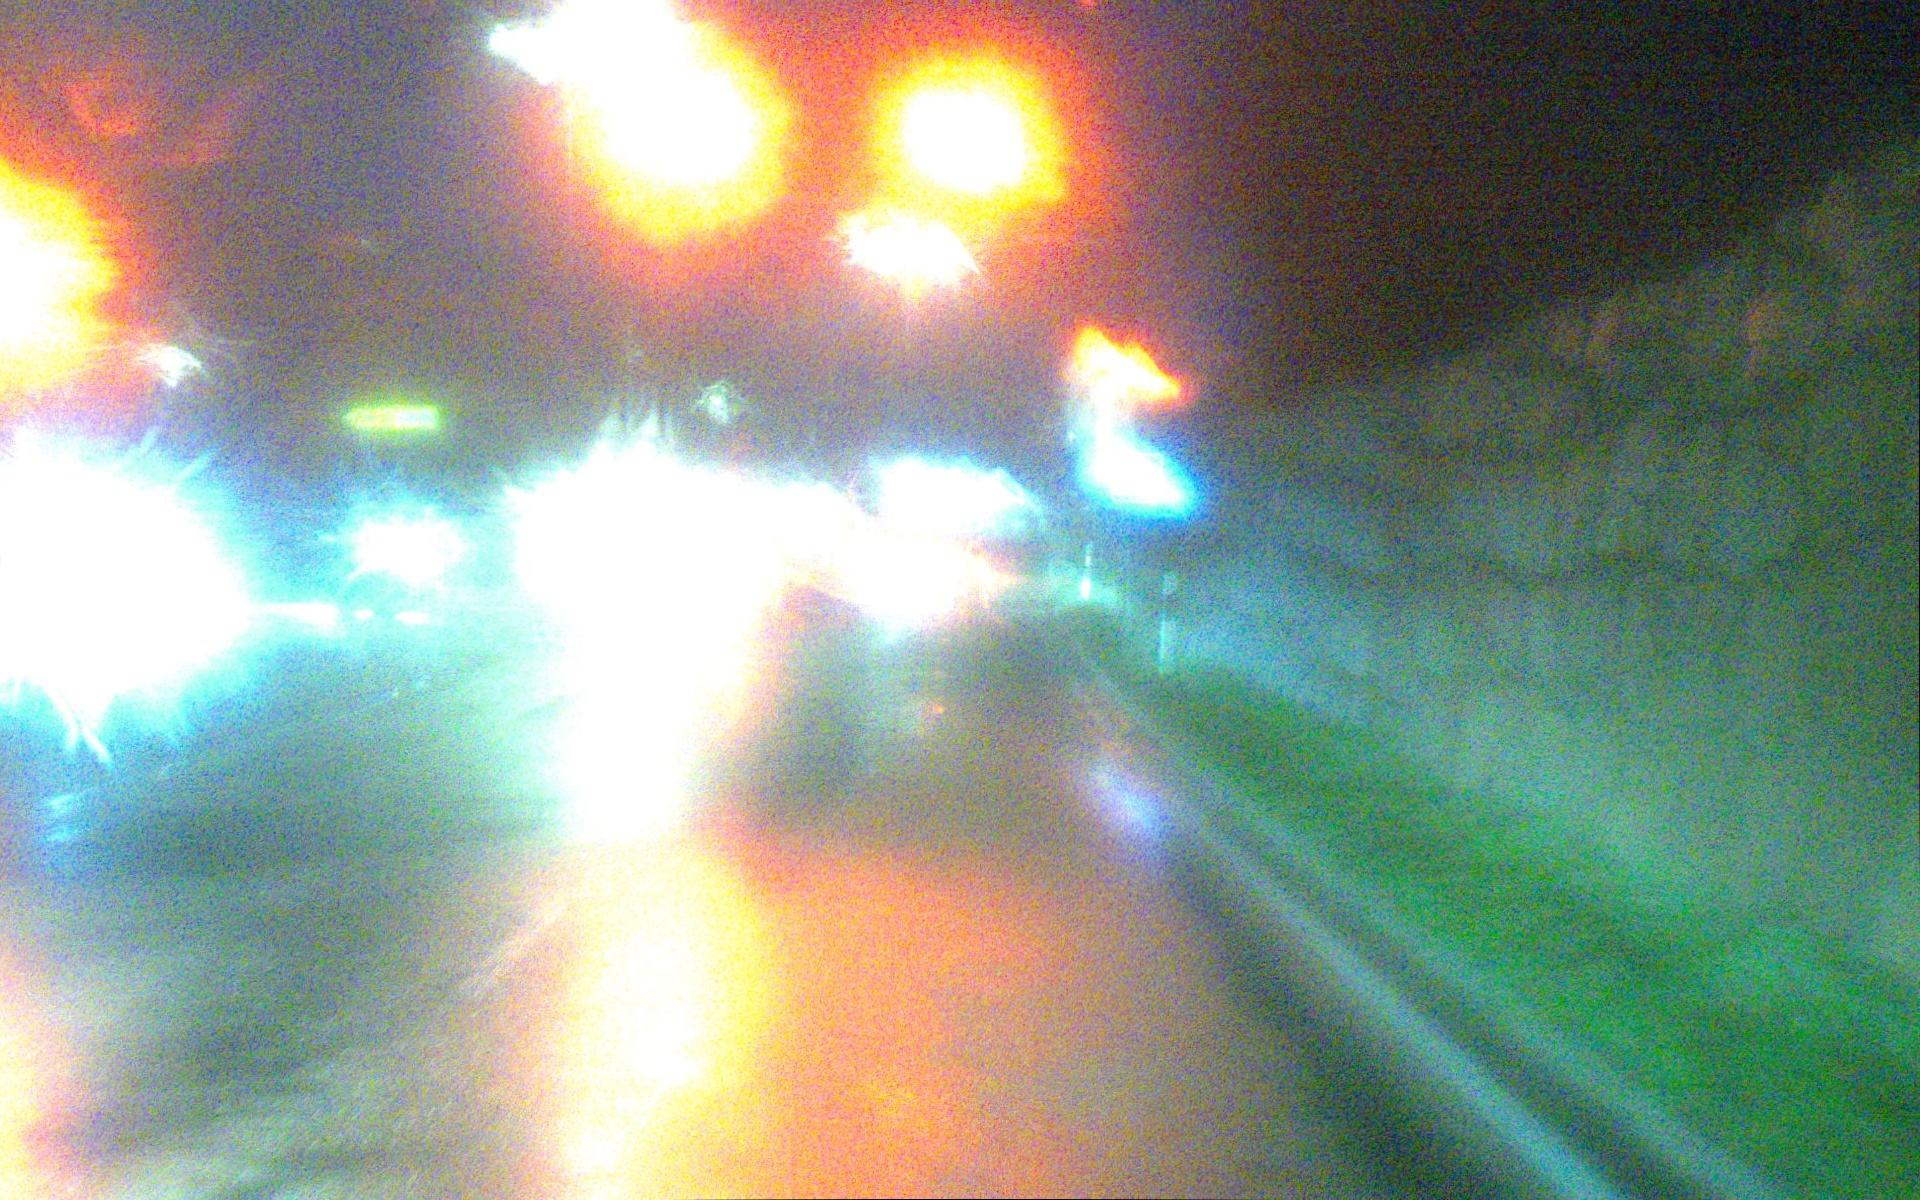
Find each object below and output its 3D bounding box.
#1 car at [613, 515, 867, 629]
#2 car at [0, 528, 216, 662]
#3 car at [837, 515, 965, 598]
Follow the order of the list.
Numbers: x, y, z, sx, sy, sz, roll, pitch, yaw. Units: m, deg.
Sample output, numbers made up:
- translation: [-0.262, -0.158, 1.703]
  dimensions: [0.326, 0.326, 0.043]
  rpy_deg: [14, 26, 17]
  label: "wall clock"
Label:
- translation: [-3.291, -0.448, 52.192]
  dimensions: [1.997, 1.656, 3.994]
  rpy_deg: [0, 1, 29]
  label: "car"
- translation: [-11.579, -0.082, 43.526]
  dimensions: [3.986, 1.656, 2.000]
  rpy_deg: [0, 1, -5]
  label: "car"
- translation: [-1.009, -0.780, 60.822]
  dimensions: [1.962, 1.424, 3.932]
  rpy_deg: [0, 1, 3]
  label: "car"
